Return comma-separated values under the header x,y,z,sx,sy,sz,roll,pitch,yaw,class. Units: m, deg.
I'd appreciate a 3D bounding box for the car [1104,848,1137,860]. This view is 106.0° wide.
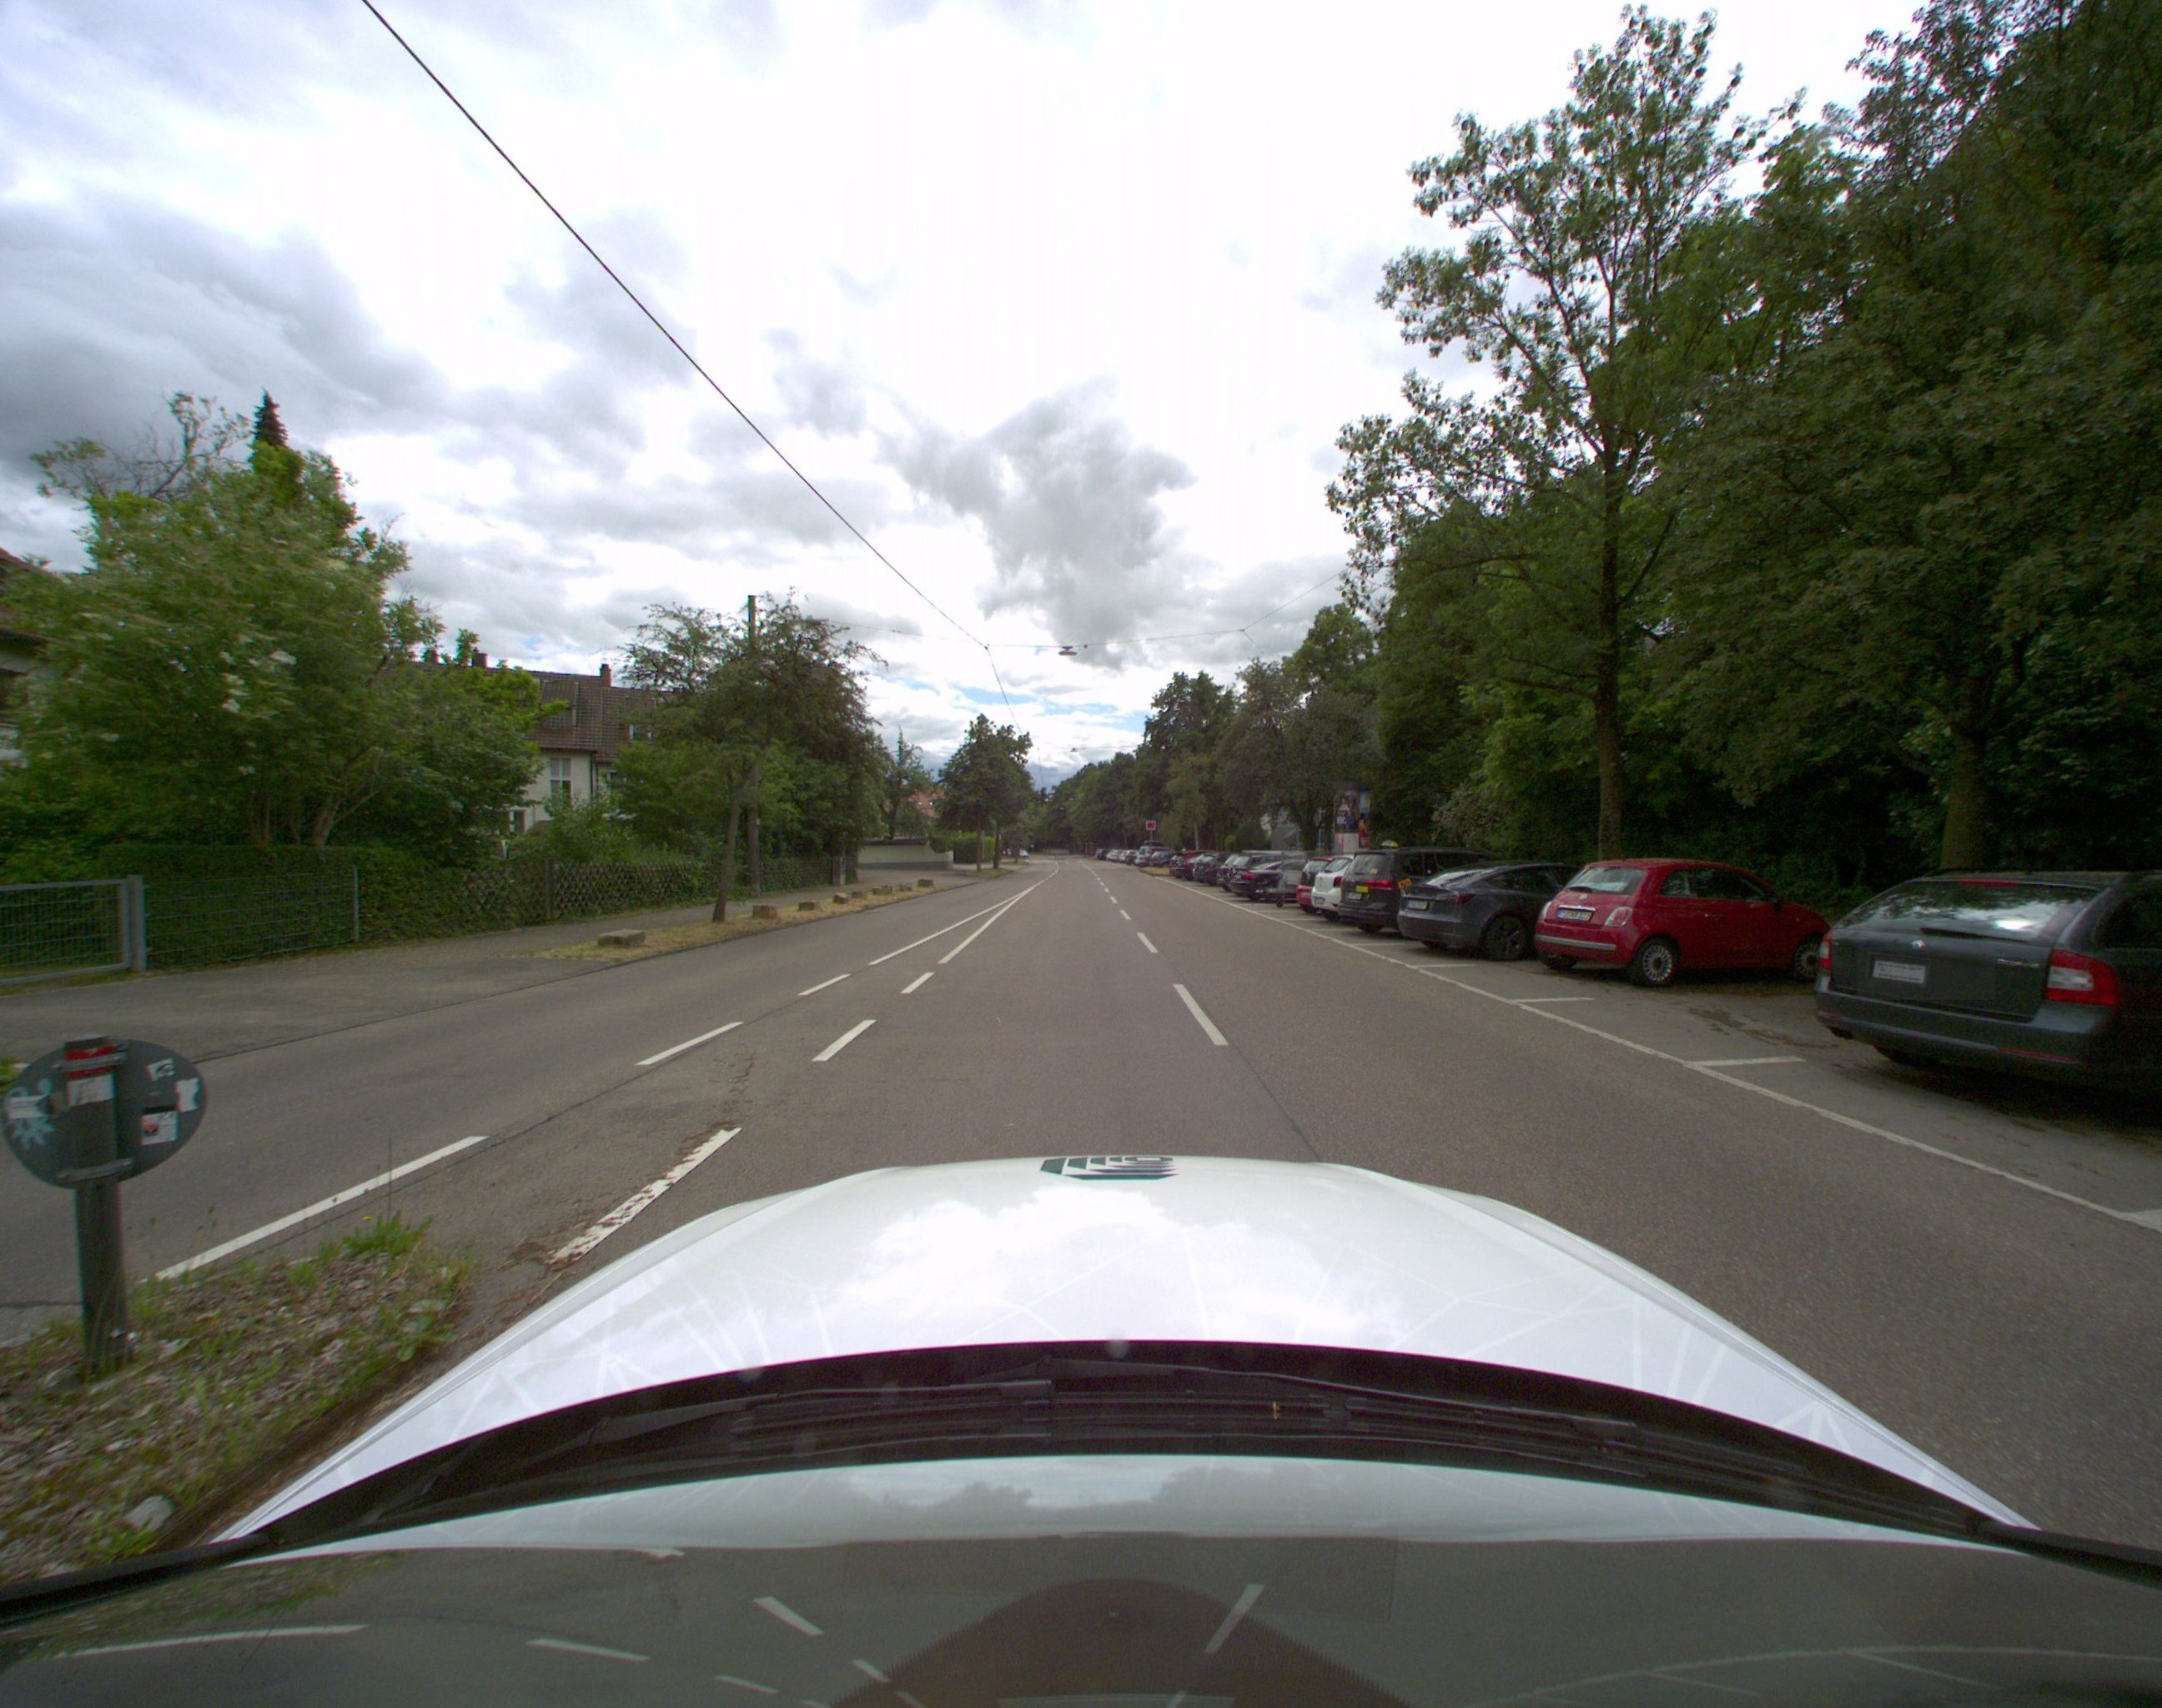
x,y,z,sx,sy,sz,roll,pitch,yaw,class
5.041,0.006,105.079,3.898,1.429,1.732,0,0,-20,car

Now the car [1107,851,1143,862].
x,y,z,sx,sy,sz,roll,pitch,yaw,class
5.266,0.288,96.722,3.903,1.309,1.729,0,0,-25,car

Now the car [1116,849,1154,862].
x,y,z,sx,sy,sz,roll,pitch,yaw,class
6.121,0.177,91.873,3.900,1.449,1.731,0,0,-22,car

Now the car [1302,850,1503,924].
x,y,z,sx,sy,sz,roll,pitch,yaw,class
6.992,0.701,17.889,3.813,1.529,1.603,0,0,-5,car

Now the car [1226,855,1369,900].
x,y,z,sx,sy,sz,roll,pitch,yaw,class
6.705,0.723,25.366,4.036,1.327,1.554,0,0,-9,car

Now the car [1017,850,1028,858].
x,y,z,sx,sy,sz,roll,pitch,yaw,class
-11.224,-0.063,156.793,1.865,1.471,3.990,-1,0,-7,car

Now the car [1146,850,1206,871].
x,y,z,sx,sy,sz,roll,pitch,yaw,class
6.829,0.448,58.751,3.972,1.405,1.748,1,0,-15,car

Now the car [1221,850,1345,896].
x,y,z,sx,sy,sz,roll,pitch,yaw,class
6.982,0.639,28.199,3.919,1.486,1.610,0,0,-16,car

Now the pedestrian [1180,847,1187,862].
x,y,z,sx,sy,sz,roll,pitch,yaw,class
11.099,0.045,88.111,0.646,1.671,0.745,-1,0,5,pedestrian

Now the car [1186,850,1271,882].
x,y,z,sx,sy,sz,roll,pitch,yaw,class
6.932,0.559,38.309,3.617,1.445,1.625,0,0,-16,car

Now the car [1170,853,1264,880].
x,y,z,sx,sy,sz,roll,pitch,yaw,class
6.817,0.623,40.877,4.318,1.341,1.725,0,0,-14,car

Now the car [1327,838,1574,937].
x,y,z,sx,sy,sz,roll,pitch,yaw,class
6.837,0.591,15.240,3.985,1.725,1.675,0,0,-10,car

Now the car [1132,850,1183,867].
x,y,z,sx,sy,sz,roll,pitch,yaw,class
6.584,0.386,70.477,3.974,1.449,1.908,1,0,-16,car

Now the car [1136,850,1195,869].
x,y,z,sx,sy,sz,roll,pitch,yaw,class
6.344,0.420,61.340,4.039,1.405,1.746,1,0,-18,car

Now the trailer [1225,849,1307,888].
x,y,z,sx,sy,sz,roll,pitch,yaw,class
7.509,0.569,33.128,2.989,1.542,1.297,0,1,-13,trailer

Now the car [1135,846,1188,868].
x,y,z,sx,sy,sz,roll,pitch,yaw,class
6.643,0.233,67.128,4.108,1.754,1.771,1,0,-27,car

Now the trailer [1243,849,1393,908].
x,y,z,sx,sy,sz,roll,pitch,yaw,class
6.589,0.662,22.749,3.690,1.535,1.639,1,0,-12,trailer

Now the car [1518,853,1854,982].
x,y,z,sx,sy,sz,roll,pitch,yaw,class
7.631,0.735,10.406,3.326,1.464,1.629,0,0,-10,car

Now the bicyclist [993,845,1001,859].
x,y,z,sx,sy,sz,roll,pitch,yaw,class
-9.842,-0.230,95.397,0.843,1.697,0.713,0,1,-4,bicyclist

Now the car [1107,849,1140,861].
x,y,z,sx,sy,sz,roll,pitch,yaw,class
5.339,0.149,102.509,3.898,1.429,1.732,0,0,-20,car

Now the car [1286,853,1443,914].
x,y,z,sx,sy,sz,roll,pitch,yaw,class
7.100,0.721,20.498,3.427,1.445,1.553,0,0,-13,car

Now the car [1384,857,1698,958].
x,y,z,sx,sy,sz,roll,pitch,yaw,class
7.028,0.765,12.587,4.161,1.407,1.691,0,0,-11,car

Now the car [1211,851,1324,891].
x,y,z,sx,sy,sz,roll,pitch,yaw,class
7.023,0.631,30.770,3.843,1.455,1.627,0,0,-12,car

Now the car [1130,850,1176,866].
x,y,z,sx,sy,sz,roll,pitch,yaw,class
6.676,0.364,75.743,3.898,1.449,1.832,1,0,-20,car

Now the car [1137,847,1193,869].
x,y,z,sx,sy,sz,roll,pitch,yaw,class
6.593,0.292,64.255,4.005,1.620,1.874,1,0,-17,car

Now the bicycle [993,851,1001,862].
x,y,z,sx,sy,sz,roll,pitch,yaw,class
-9.836,0.315,95.310,0.843,1.266,2.649,0,1,-3,bicycle

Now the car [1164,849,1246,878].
x,y,z,sx,sy,sz,roll,pitch,yaw,class
6.639,0.488,43.718,4.088,1.515,1.721,0,0,-23,car

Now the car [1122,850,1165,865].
x,y,z,sx,sy,sz,roll,pitch,yaw,class
6.167,0.313,80.735,3.902,1.449,1.830,0,0,-24,car

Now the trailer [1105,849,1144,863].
x,y,z,sx,sy,sz,roll,pitch,yaw,class
5.015,0.189,94.031,4.168,1.573,1.701,1,0,-20,trailer

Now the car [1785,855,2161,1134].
x,y,z,sx,sy,sz,roll,pitch,yaw,class
7.345,0.765,5.480,4.218,1.464,1.630,0,0,-9,car

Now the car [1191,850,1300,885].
x,y,z,sx,sy,sz,roll,pitch,yaw,class
7.117,0.571,35.290,4.351,1.445,1.626,0,1,-15,car

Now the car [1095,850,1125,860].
x,y,z,sx,sy,sz,roll,pitch,yaw,class
4.122,0.101,115.062,3.898,1.429,1.732,0,0,-20,car
